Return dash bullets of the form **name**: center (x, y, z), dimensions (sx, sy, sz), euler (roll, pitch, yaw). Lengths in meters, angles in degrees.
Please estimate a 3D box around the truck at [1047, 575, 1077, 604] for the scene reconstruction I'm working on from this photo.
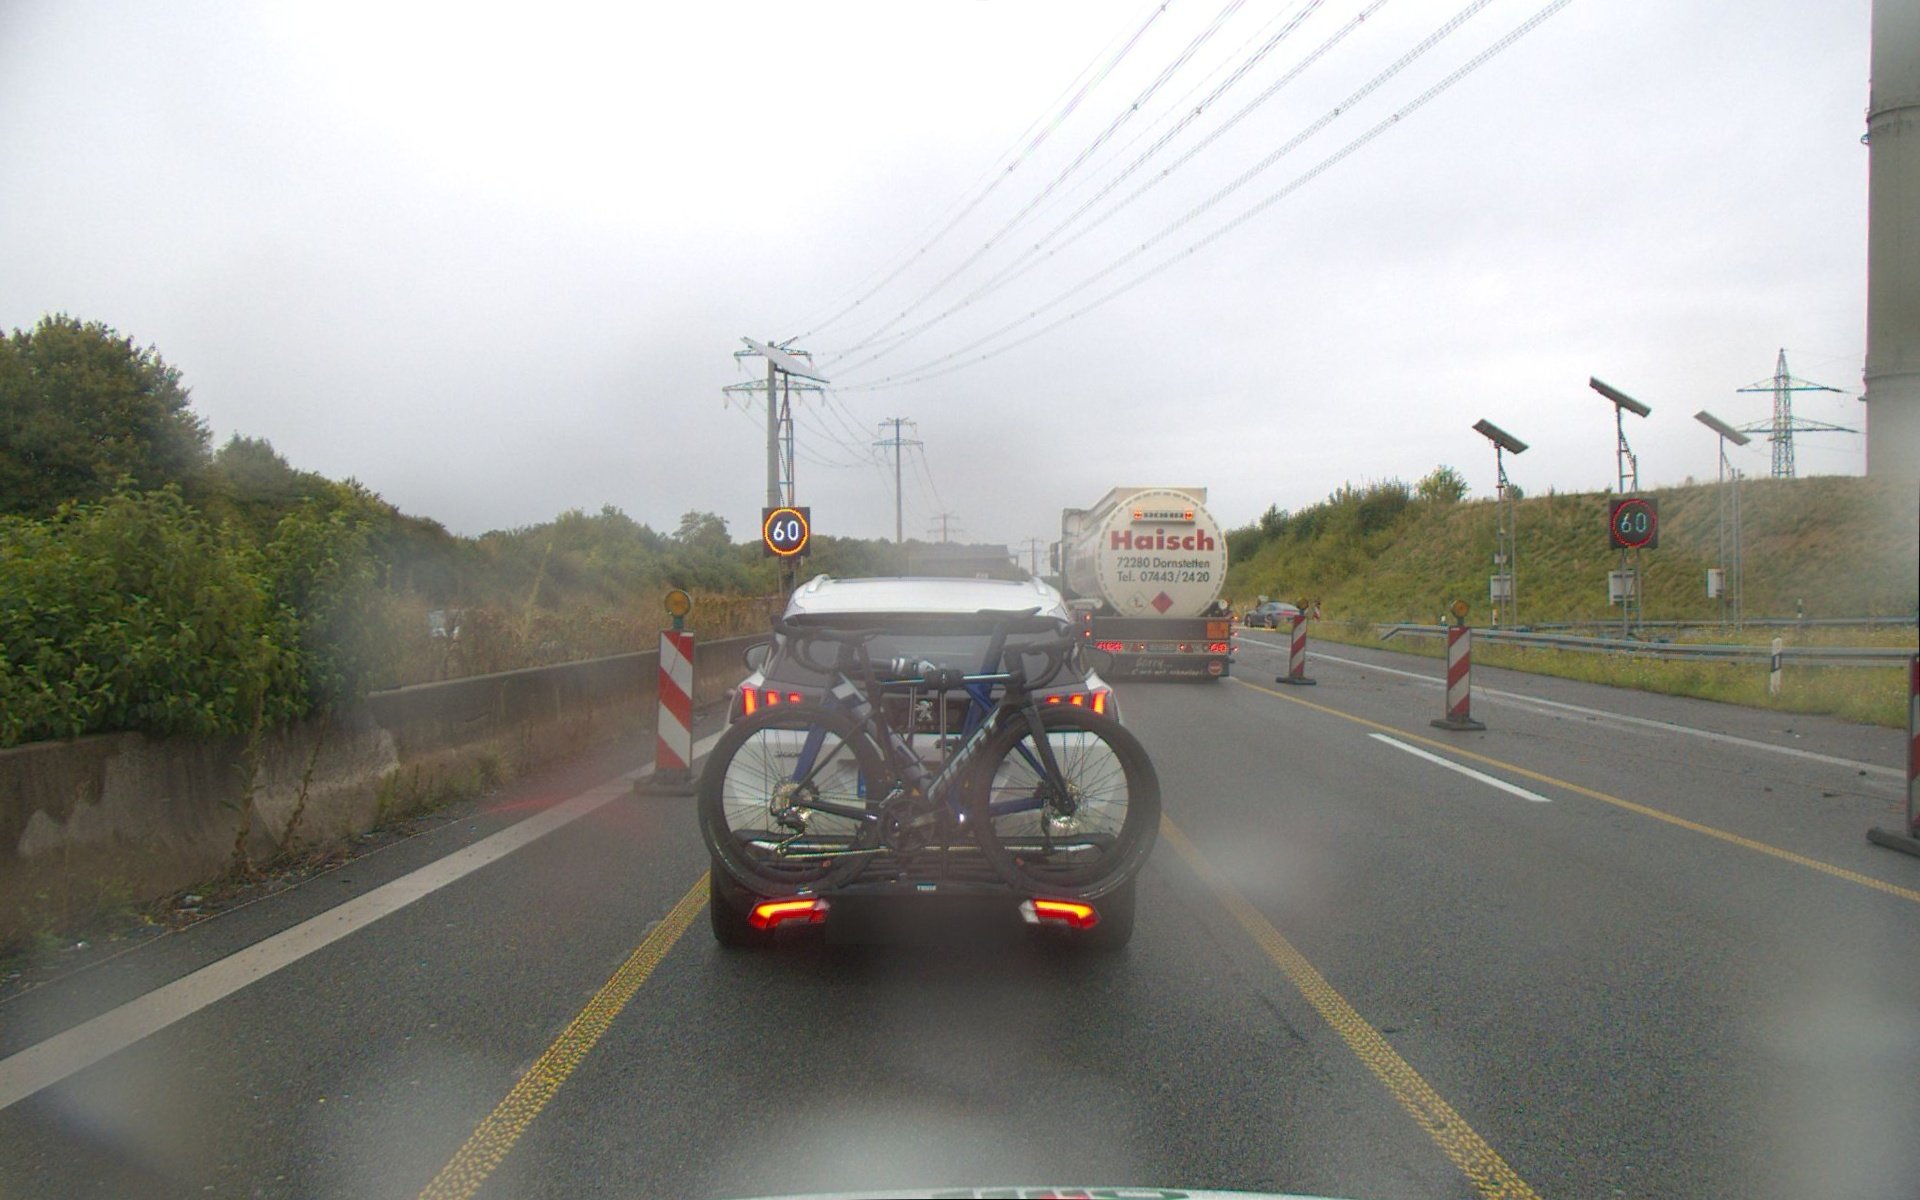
- **truck**: center (14.214, -1.411, 231.348), dimensions (3.654, 3.889, 11.869), euler (0, -1, 1)

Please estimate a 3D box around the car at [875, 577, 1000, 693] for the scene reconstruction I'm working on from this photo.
- **car**: center (-0.331, 0.535, 28.178), dimensions (1.952, 1.791, 4.000), euler (-1, 0, 1)

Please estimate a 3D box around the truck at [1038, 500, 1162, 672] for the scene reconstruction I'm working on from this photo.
- **truck**: center (3.357, -0.316, 40.600), dimensions (2.591, 3.959, 4.029), euler (1, -1, -1)

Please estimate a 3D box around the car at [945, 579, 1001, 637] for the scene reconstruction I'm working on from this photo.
- **car**: center (0.434, 0.283, 61.608), dimensions (1.953, 2.049, 3.999), euler (-1, 1, -1)

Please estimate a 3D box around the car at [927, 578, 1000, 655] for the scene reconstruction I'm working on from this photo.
- **car**: center (0.064, 0.440, 47.391), dimensions (1.953, 2.049, 3.999), euler (-1, 0, -1)

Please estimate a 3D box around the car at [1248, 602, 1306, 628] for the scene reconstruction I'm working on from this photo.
- **car**: center (15.403, 0.726, 80.567), dimensions (1.456, 1.181, 3.897), euler (-1, 0, -10)

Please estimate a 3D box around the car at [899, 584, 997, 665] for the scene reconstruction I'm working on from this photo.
- **car**: center (-0.262, 0.489, 35.120), dimensions (1.953, 1.611, 3.999), euler (0, 0, -1)

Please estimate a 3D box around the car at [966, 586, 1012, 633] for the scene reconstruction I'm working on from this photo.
- **car**: center (1.275, 0.425, 75.148), dimensions (1.953, 2.049, 3.999), euler (1, -1, -1)

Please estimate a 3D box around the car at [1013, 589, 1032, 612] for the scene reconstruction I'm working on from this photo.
- **car**: center (5.549, 0.028, 146.633), dimensions (1.619, 2.049, 4.002), euler (0, 0, 3)

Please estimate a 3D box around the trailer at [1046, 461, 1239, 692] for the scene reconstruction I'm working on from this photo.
- **trailer**: center (3.443, -0.366, 33.904), dimensions (2.584, 3.961, 10.541), euler (1, 0, -1)

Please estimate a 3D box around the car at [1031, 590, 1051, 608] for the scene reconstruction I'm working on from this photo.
- **car**: center (9.167, -0.092, 186.713), dimensions (1.953, 2.049, 3.999), euler (1, -1, -1)

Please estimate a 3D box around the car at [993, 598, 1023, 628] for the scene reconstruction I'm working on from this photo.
- **car**: center (3.450, 0.934, 118.927), dimensions (1.953, 2.049, 3.999), euler (1, -1, -1)

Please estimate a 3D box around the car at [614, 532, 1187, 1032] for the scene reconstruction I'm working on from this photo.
- **car**: center (-0.139, 0.593, 7.781), dimensions (1.888, 1.639, 4.596), euler (0, 0, 1)
